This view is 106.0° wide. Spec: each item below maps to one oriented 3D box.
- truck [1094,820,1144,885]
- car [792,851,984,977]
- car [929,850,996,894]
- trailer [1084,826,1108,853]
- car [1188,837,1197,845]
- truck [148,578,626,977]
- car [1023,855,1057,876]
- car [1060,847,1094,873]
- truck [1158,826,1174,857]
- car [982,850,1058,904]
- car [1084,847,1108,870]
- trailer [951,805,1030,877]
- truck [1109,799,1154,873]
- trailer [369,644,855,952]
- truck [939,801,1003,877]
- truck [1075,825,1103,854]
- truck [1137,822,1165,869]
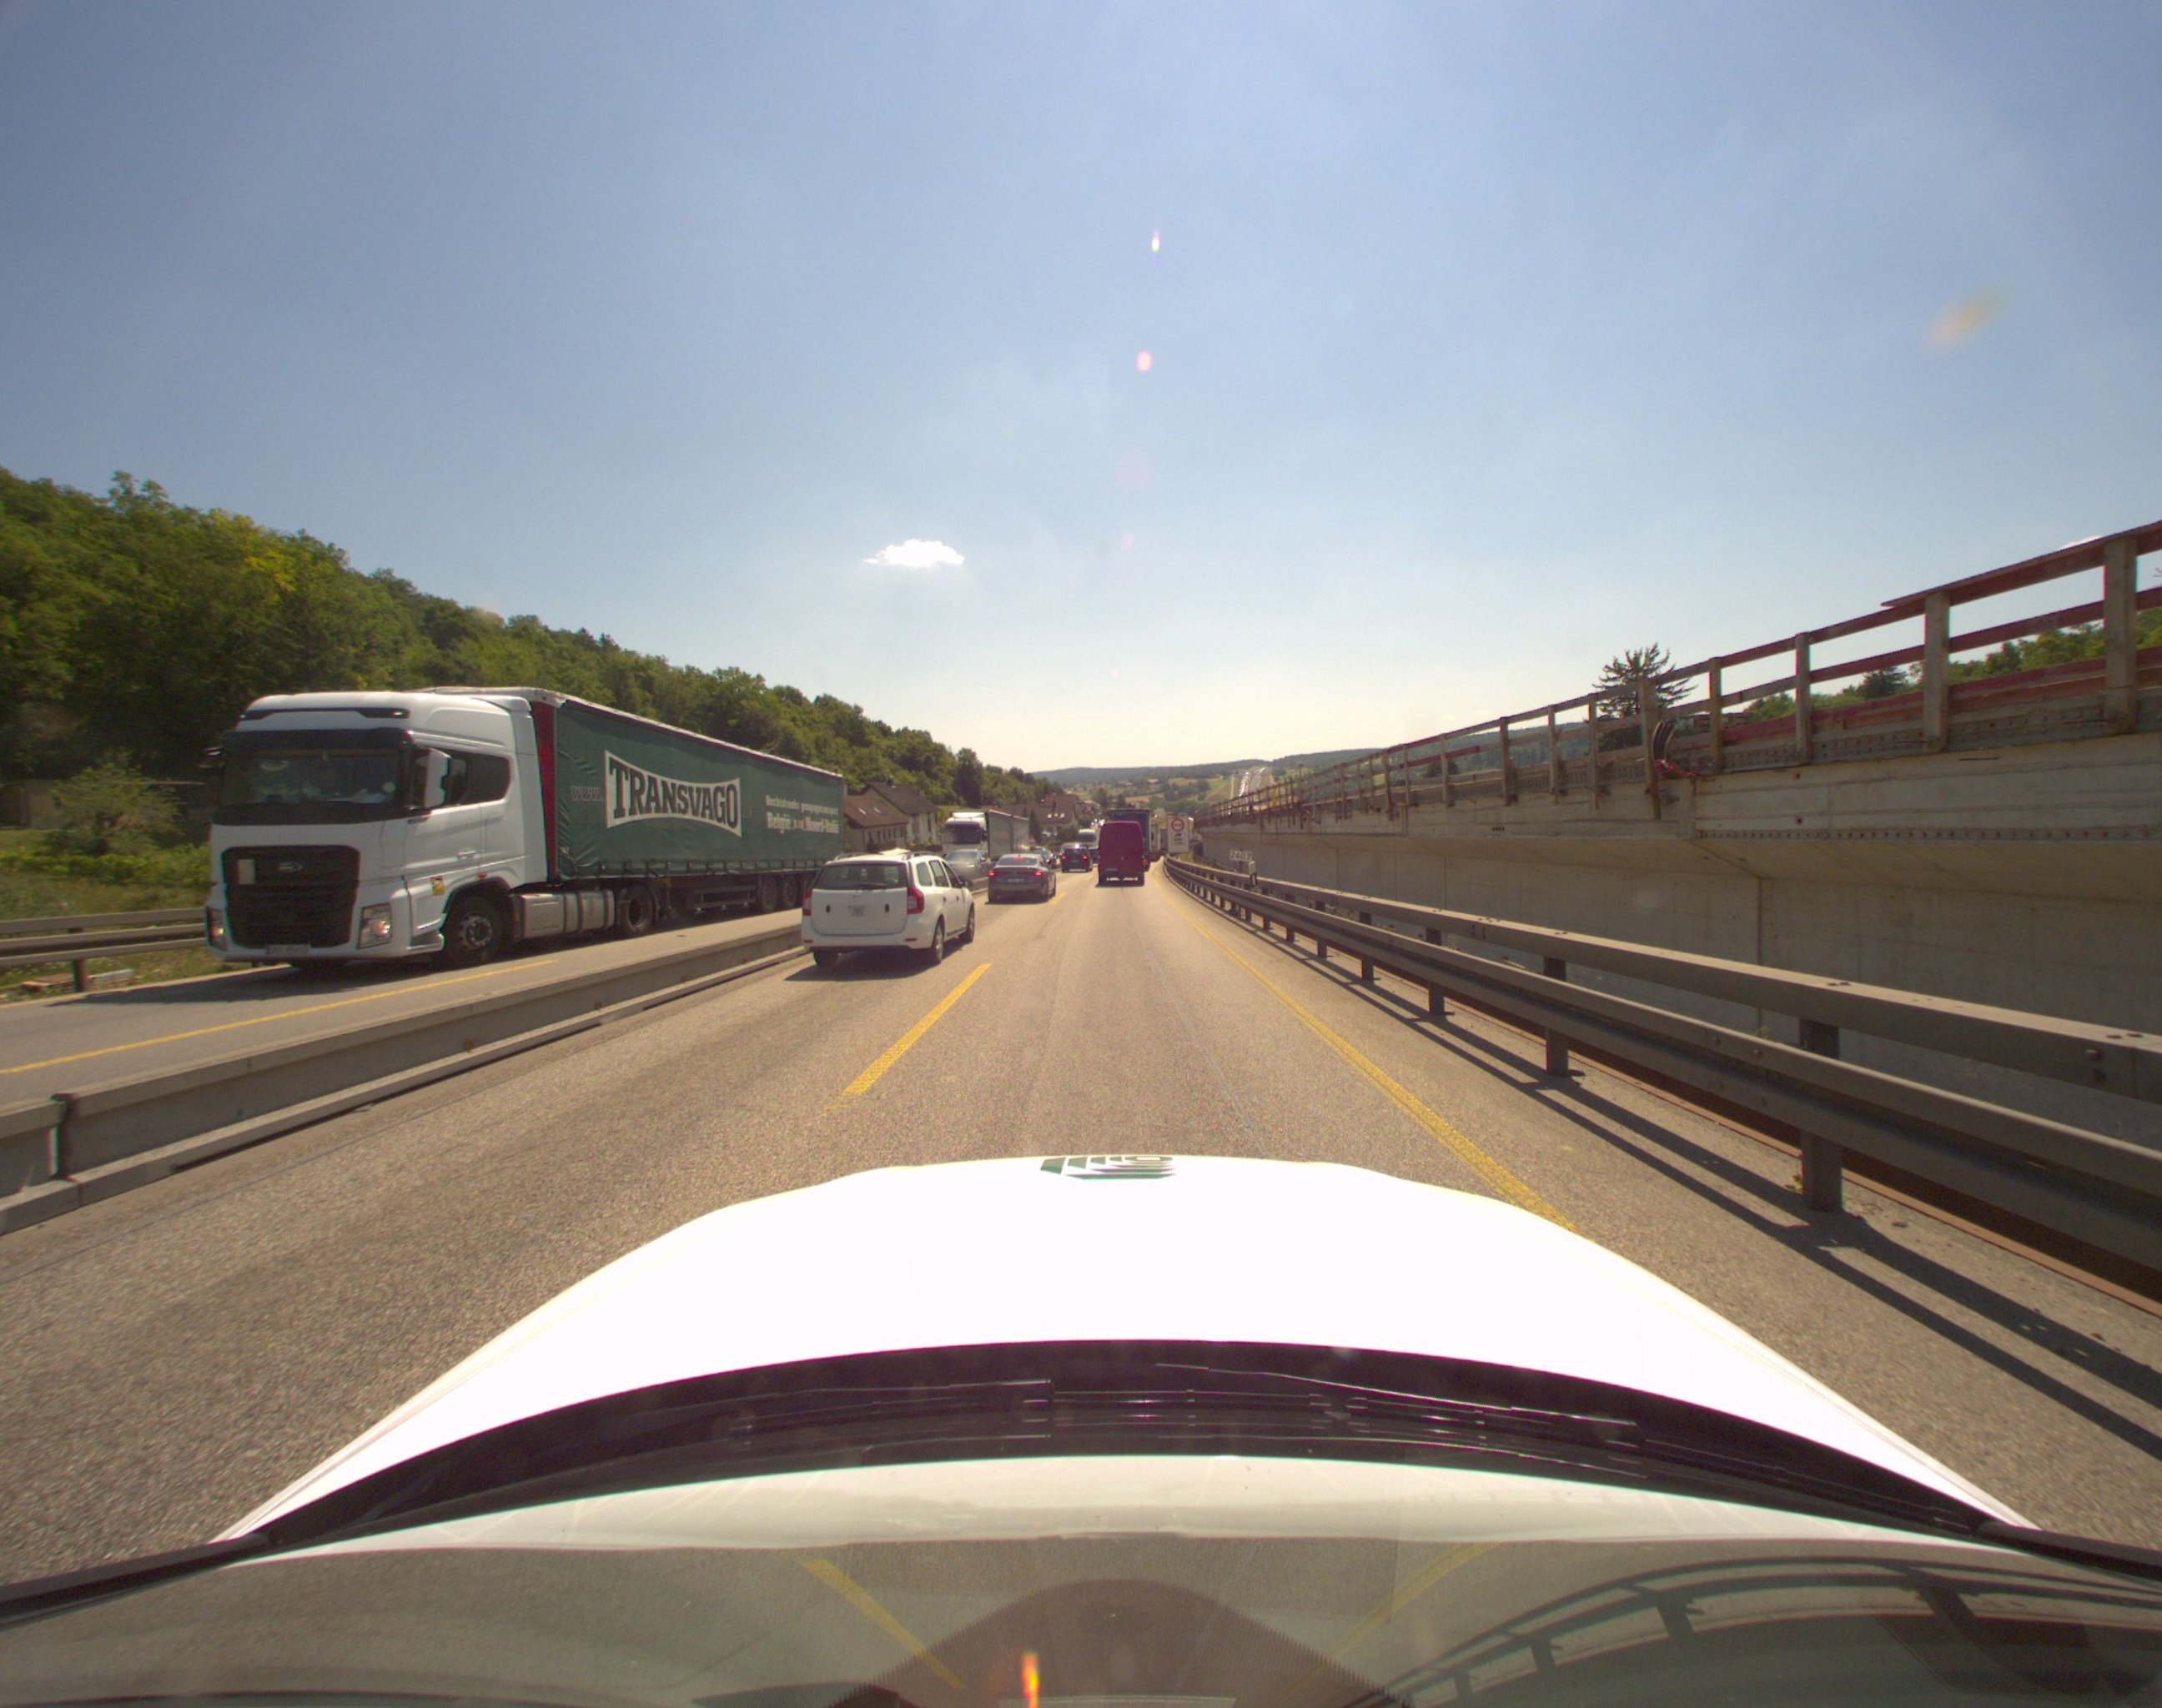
[{"bbox_3d":[1.635,-0.041,35.063,1.985,2.578,4.002,-1,-1,2],"label":"truck"},{"bbox_3d":[-2.665,0.761,12.268,1.645,1.483,4.269,-3,0,2],"label":"car"},{"bbox_3d":[-4.898,0.696,34.194,1.949,1.681,4.117,-1,0,3],"label":"car"},{"bbox_3d":[2.572,-2.360,134.436,2.987,4.165,9.036,-1,0,7],"label":"trailer"},{"bbox_3d":[30.501,-3.447,223.034,2.118,2.014,4.012,-1,-1,11],"label":"car"},{"bbox_3d":[-9.766,-0.908,12.241,3.048,4.821,4.649,-1,-1,3],"label":"truck"},{"bbox_3d":[-3.028,0.859,60.754,1.893,1.462,4.762,-1,-1,4],"label":"car"},{"bbox_3d":[-0.232,0.414,53.298,1.801,1.608,3.725,-1,-1,6],"label":"car"},{"bbox_3d":[12.701,-1.816,121.407,1.981,4.381,4.011,-1,-1,10],"label":"truck"},{"bbox_3d":[-1.803,0.653,25.279,1.787,1.485,4.053,-1,0,3],"label":"car"},{"bbox_3d":[1.274,0.420,68.309,1.721,1.838,4.005,-1,-1,5],"label":"car"},{"bbox_3d":[-6.327,-0.778,60.177,2.820,4.641,14.601,-1,-1,5],"label":"trailer"},{"bbox_3d":[3.729,-1.111,58.205,2.772,4.816,9.700,-1,-1,6],"label":"truck"},{"bbox_3d":[-9.364,-0.809,19.842,3.051,4.815,14.013,-1,-1,3],"label":"trailer"},{"bbox_3d":[-6.956,-0.887,52.213,2.833,4.580,5.794,-1,-1,4],"label":"truck"},{"bbox_3d":[1.348,-2.239,124.718,2.962,4.162,10.567,-1,1,7],"label":"truck"},{"bbox_3d":[7.795,-0.841,89.904,2.772,4.816,9.700,-1,-1,6],"label":"truck"}]
